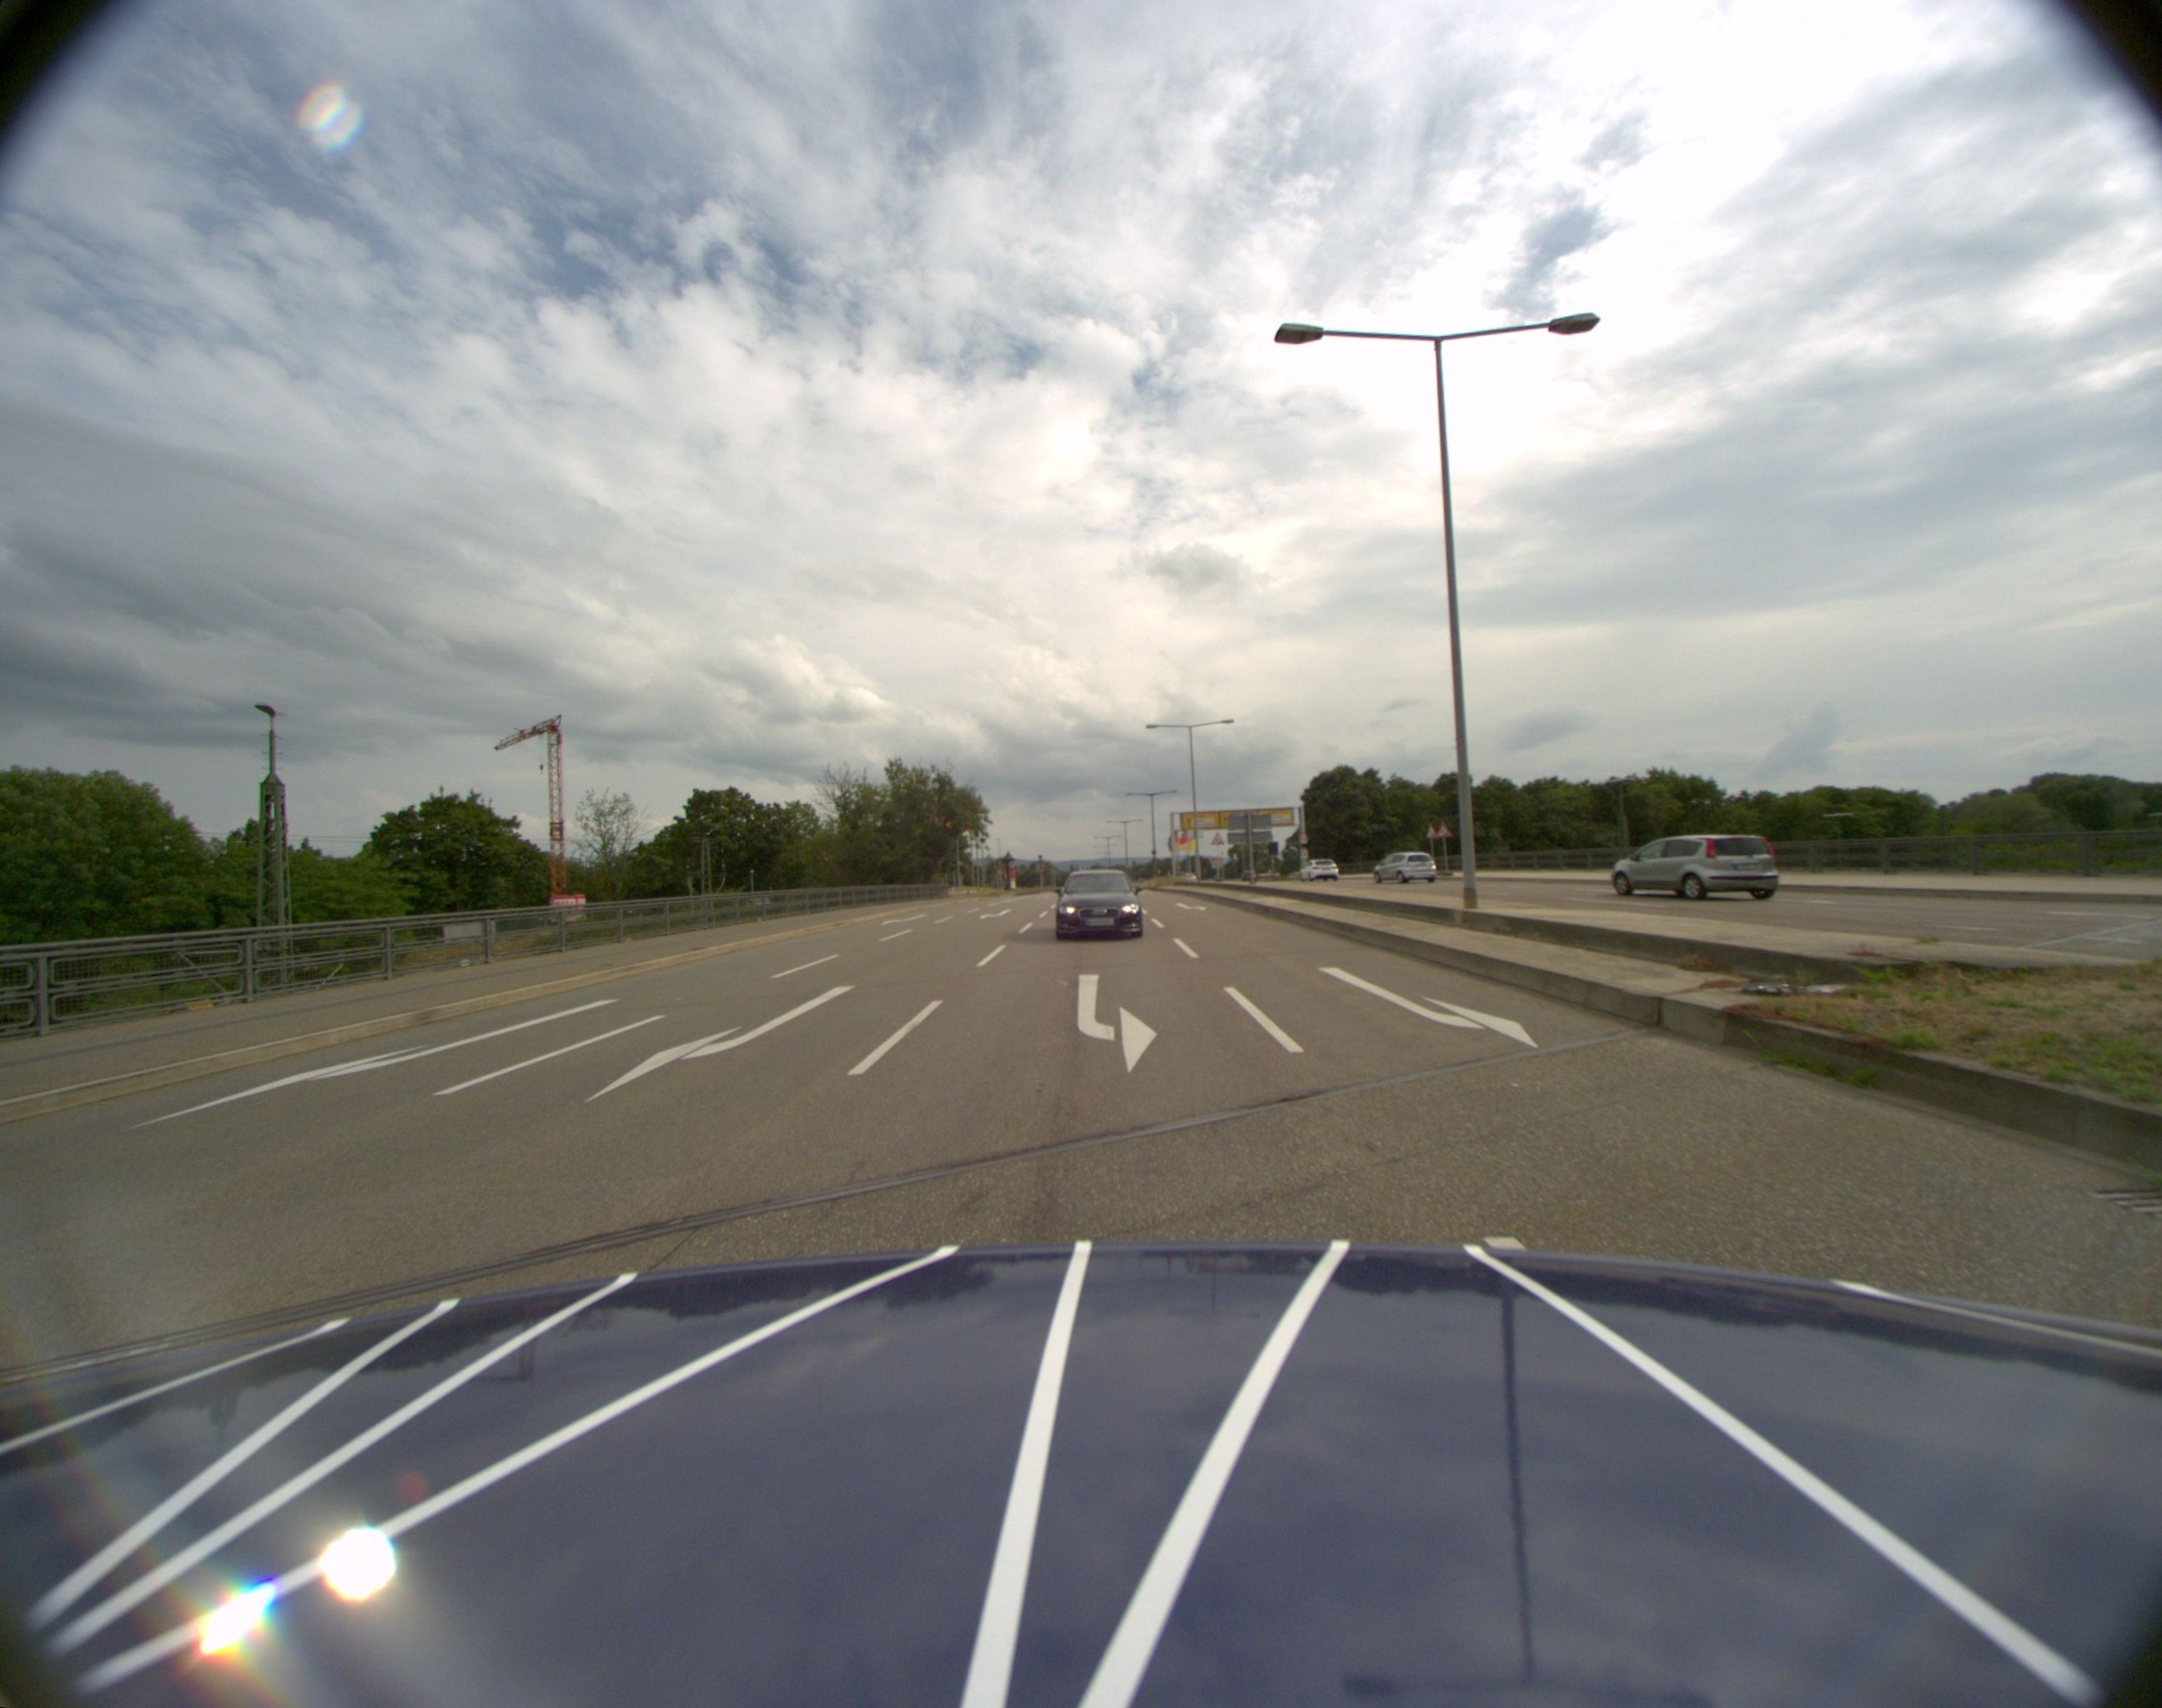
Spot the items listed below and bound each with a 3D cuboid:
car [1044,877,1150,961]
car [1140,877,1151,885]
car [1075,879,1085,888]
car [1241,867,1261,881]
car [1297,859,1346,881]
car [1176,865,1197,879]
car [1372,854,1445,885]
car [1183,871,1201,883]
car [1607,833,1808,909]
[{"bbox_3d":[0.311,1.230,15.921,1.852,1.355,4.730,-1,0,1],"label":"car"},{"bbox_3d":[12.973,5.360,152.683,1.727,1.522,3.918,-2,-1,-1],"label":"car"},{"bbox_3d":[-0.248,5.688,145.091,1.745,1.467,3.812,-3,0,0],"label":"car"},{"bbox_3d":[21.278,2.499,95.346,1.891,1.630,4.549,-3,-1,7],"label":"car"},{"bbox_3d":[16.435,1.079,52.189,1.923,1.407,4.882,-1,-1,1],"label":"car"},{"bbox_3d":[12.452,2.122,89.616,1.891,1.630,4.586,-2,-1,2],"label":"car"},{"bbox_3d":[16.268,0.732,37.980,1.813,1.407,4.029,-2,0,-1],"label":"car"},{"bbox_3d":[15.079,3.100,103.275,1.892,1.630,4.219,-2,-1,0],"label":"car"},{"bbox_3d":[15.237,0.379,18.813,1.746,1.649,4.080,-1,0,3],"label":"car"}]
